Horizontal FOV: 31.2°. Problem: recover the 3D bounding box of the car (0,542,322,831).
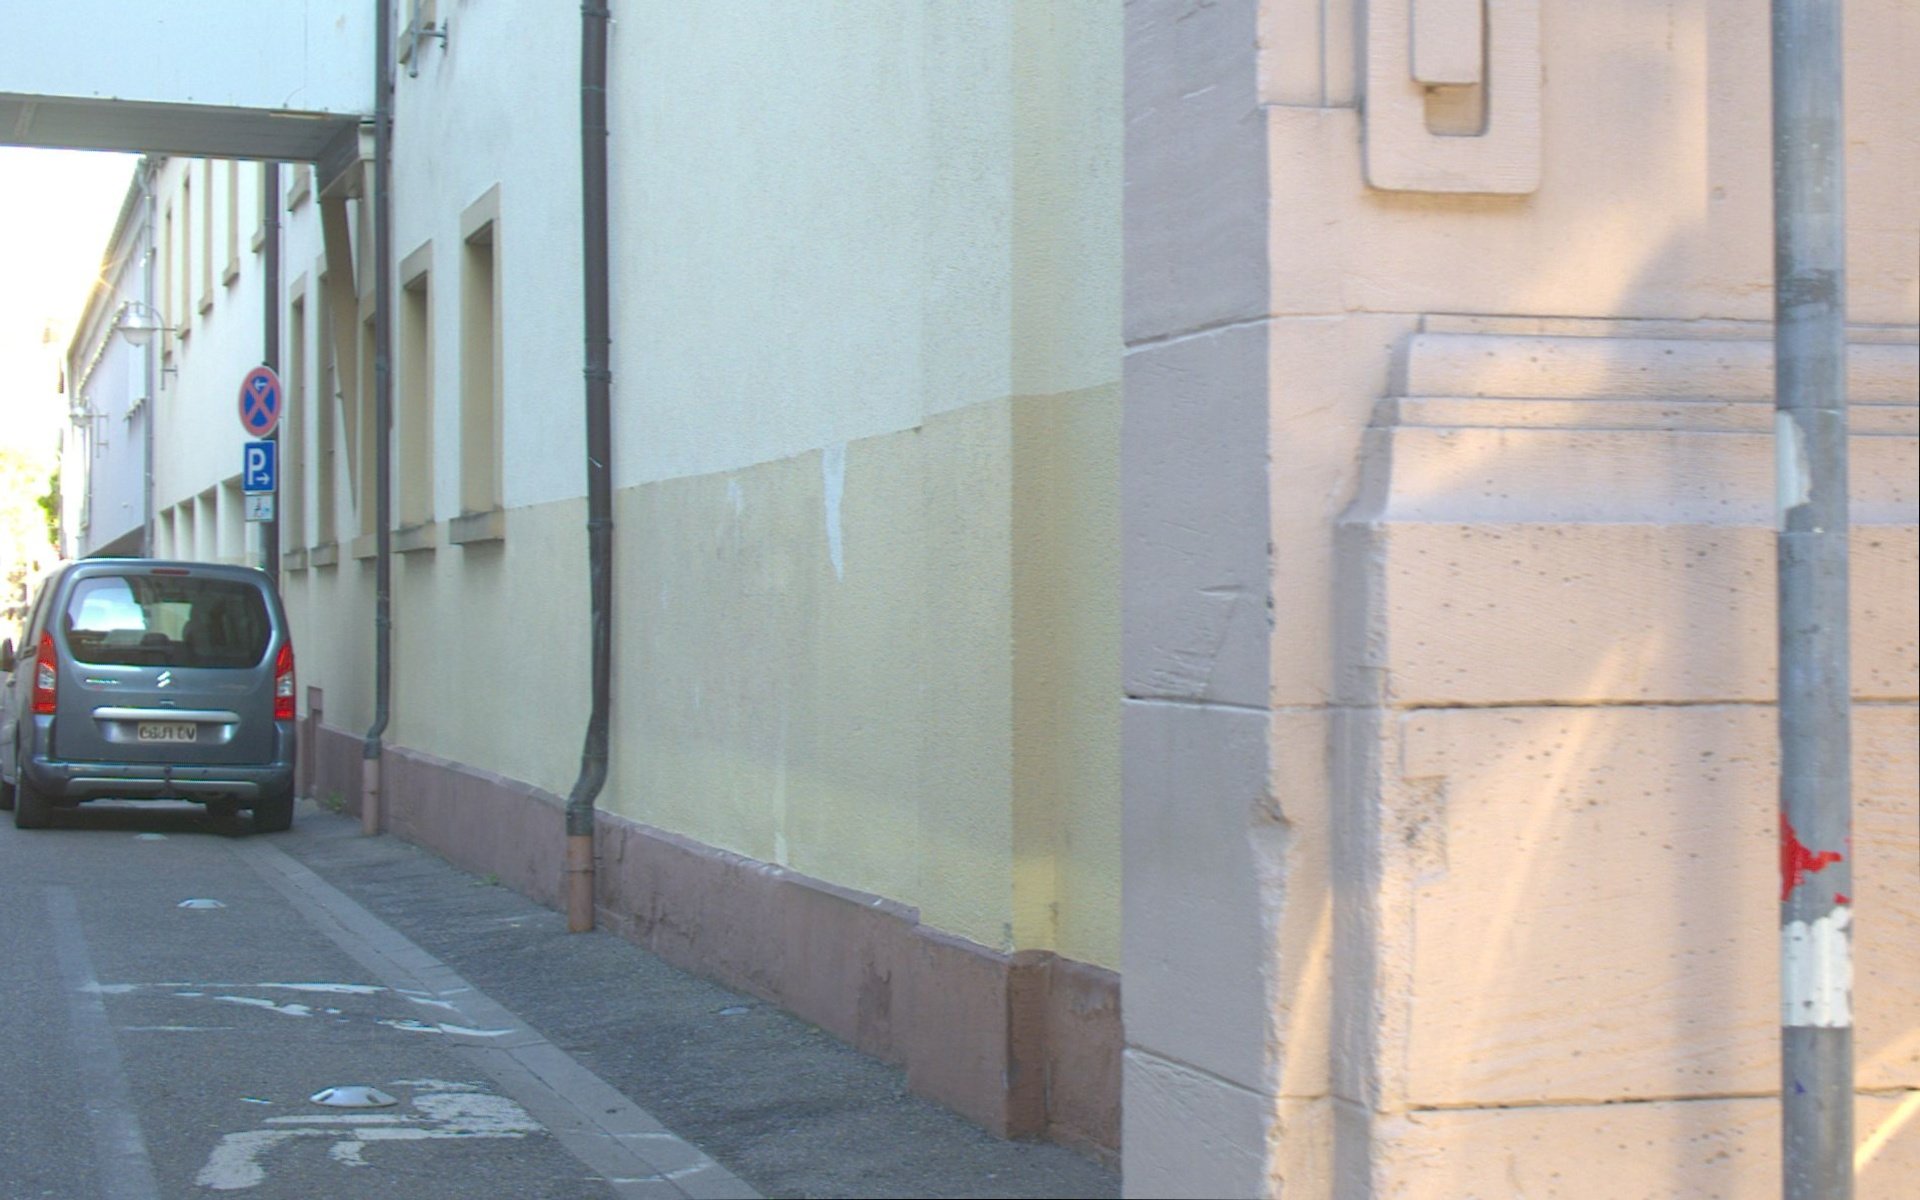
[{"bbox_3d":[-5.705,0.544,23.856,1.854,1.750,4.163,4,-1,-18],"label":"car"}]
